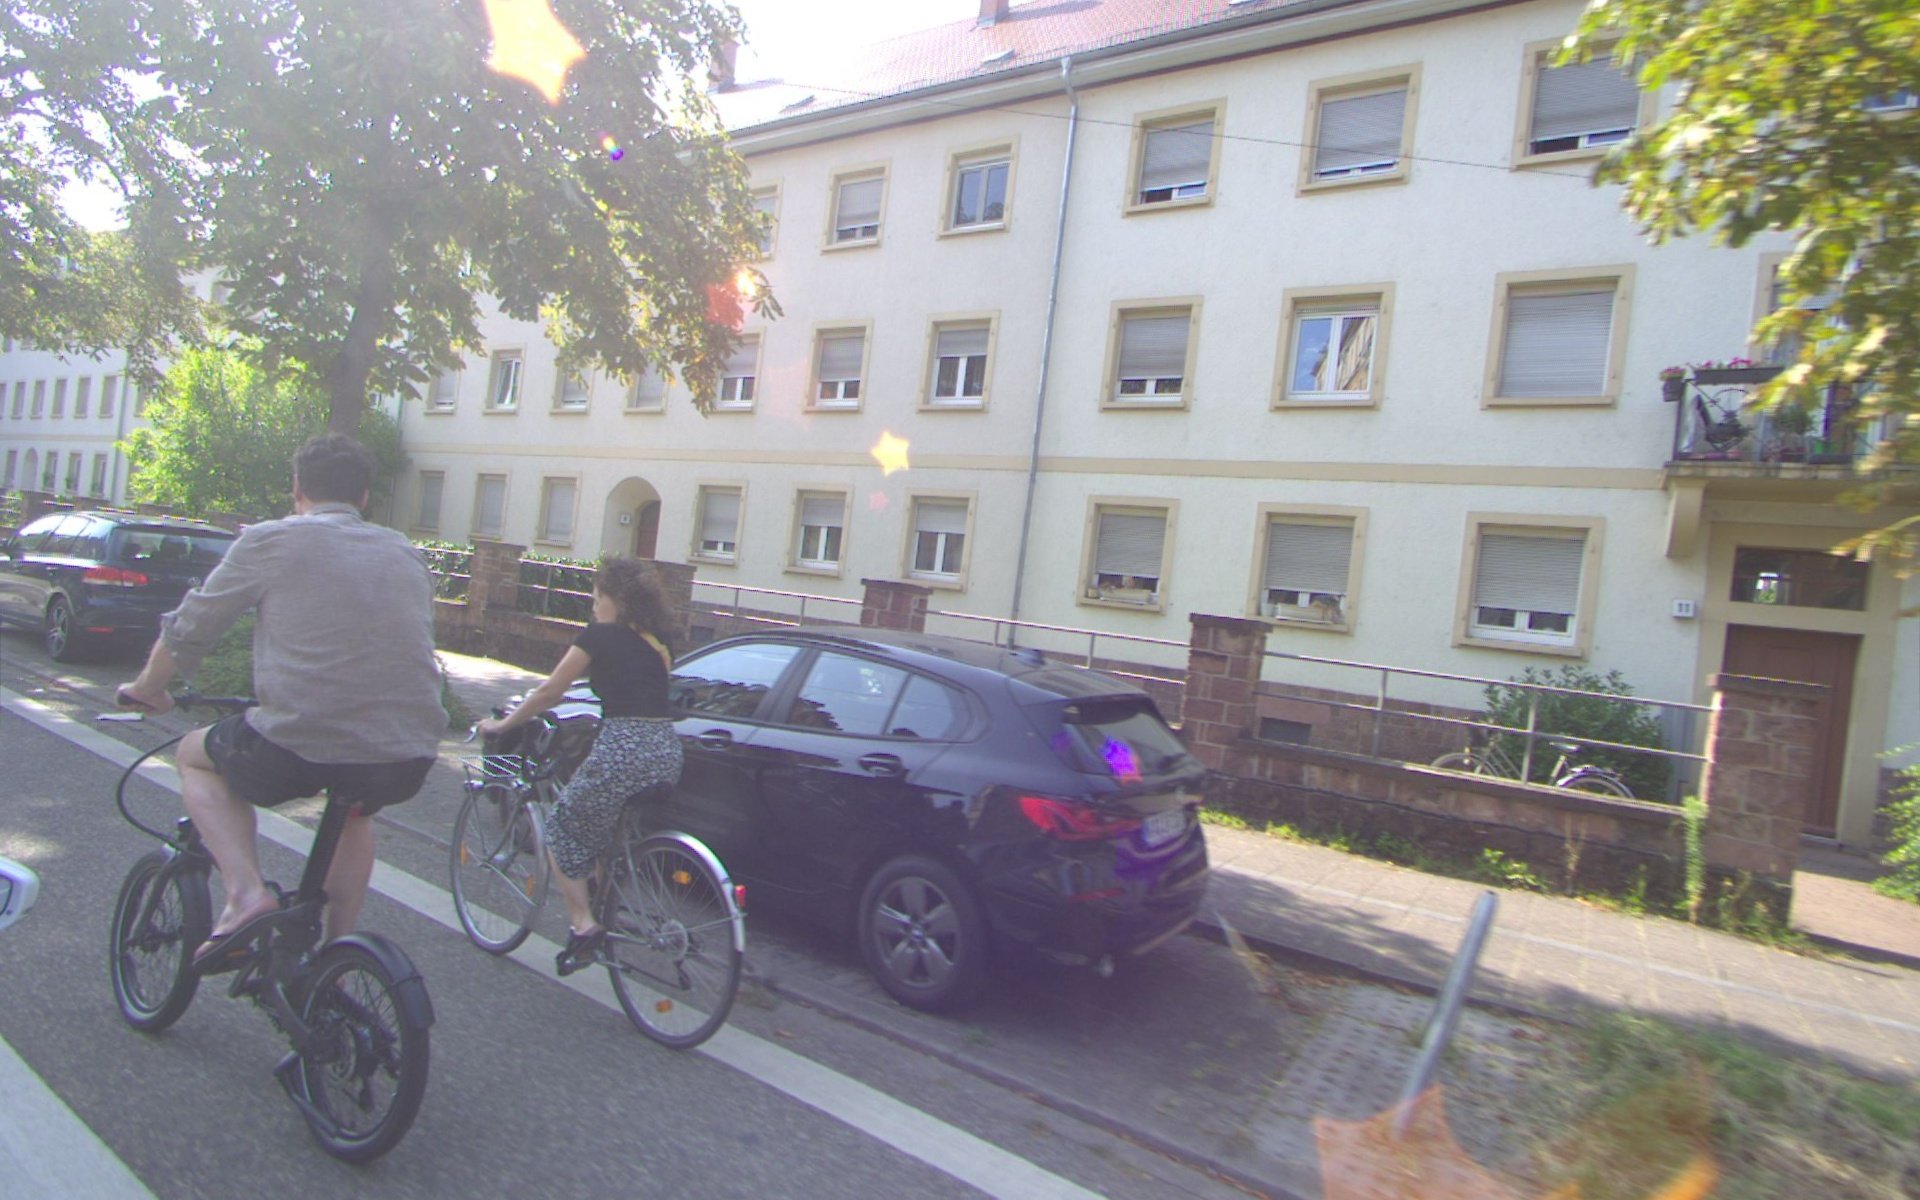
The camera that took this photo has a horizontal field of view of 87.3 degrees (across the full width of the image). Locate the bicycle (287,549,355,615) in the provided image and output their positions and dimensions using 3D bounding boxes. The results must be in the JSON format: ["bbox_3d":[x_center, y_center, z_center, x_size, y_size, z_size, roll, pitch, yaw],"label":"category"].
[{"bbox_3d":[-11.841,-0.339,18.632,1.464,1.073,0.416,6,0,33],"label":"bicycle"}]

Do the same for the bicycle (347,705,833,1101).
[{"bbox_3d":[-1.410,0.982,3.720,1.746,0.919,0.656,6,-3,32],"label":"bicycle"}]

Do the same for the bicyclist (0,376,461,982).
[{"bbox_3d":[-2.071,0.176,2.850,0.914,1.416,0.628,6,-2,32],"label":"bicyclist"}]

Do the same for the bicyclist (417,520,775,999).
[{"bbox_3d":[-1.338,0.524,3.724,0.894,1.490,0.656,6,-2,32],"label":"bicyclist"}]

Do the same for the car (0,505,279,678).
[{"bbox_3d":[-9.385,-0.167,10.997,4.029,1.521,1.690,6,1,33],"label":"car"}]

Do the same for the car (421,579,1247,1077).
[{"bbox_3d":[-0.871,0.829,5.452,4.266,1.453,1.690,6,2,32],"label":"car"}]

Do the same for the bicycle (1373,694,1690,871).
[{"bbox_3d":[5.067,1.566,9.082,2.294,1.117,0.773,7,-1,31],"label":"bicycle"}]

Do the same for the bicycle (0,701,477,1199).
[{"bbox_3d":[-2.151,0.857,2.827,1.500,0.919,0.628,6,-3,32],"label":"bicycle"}]
